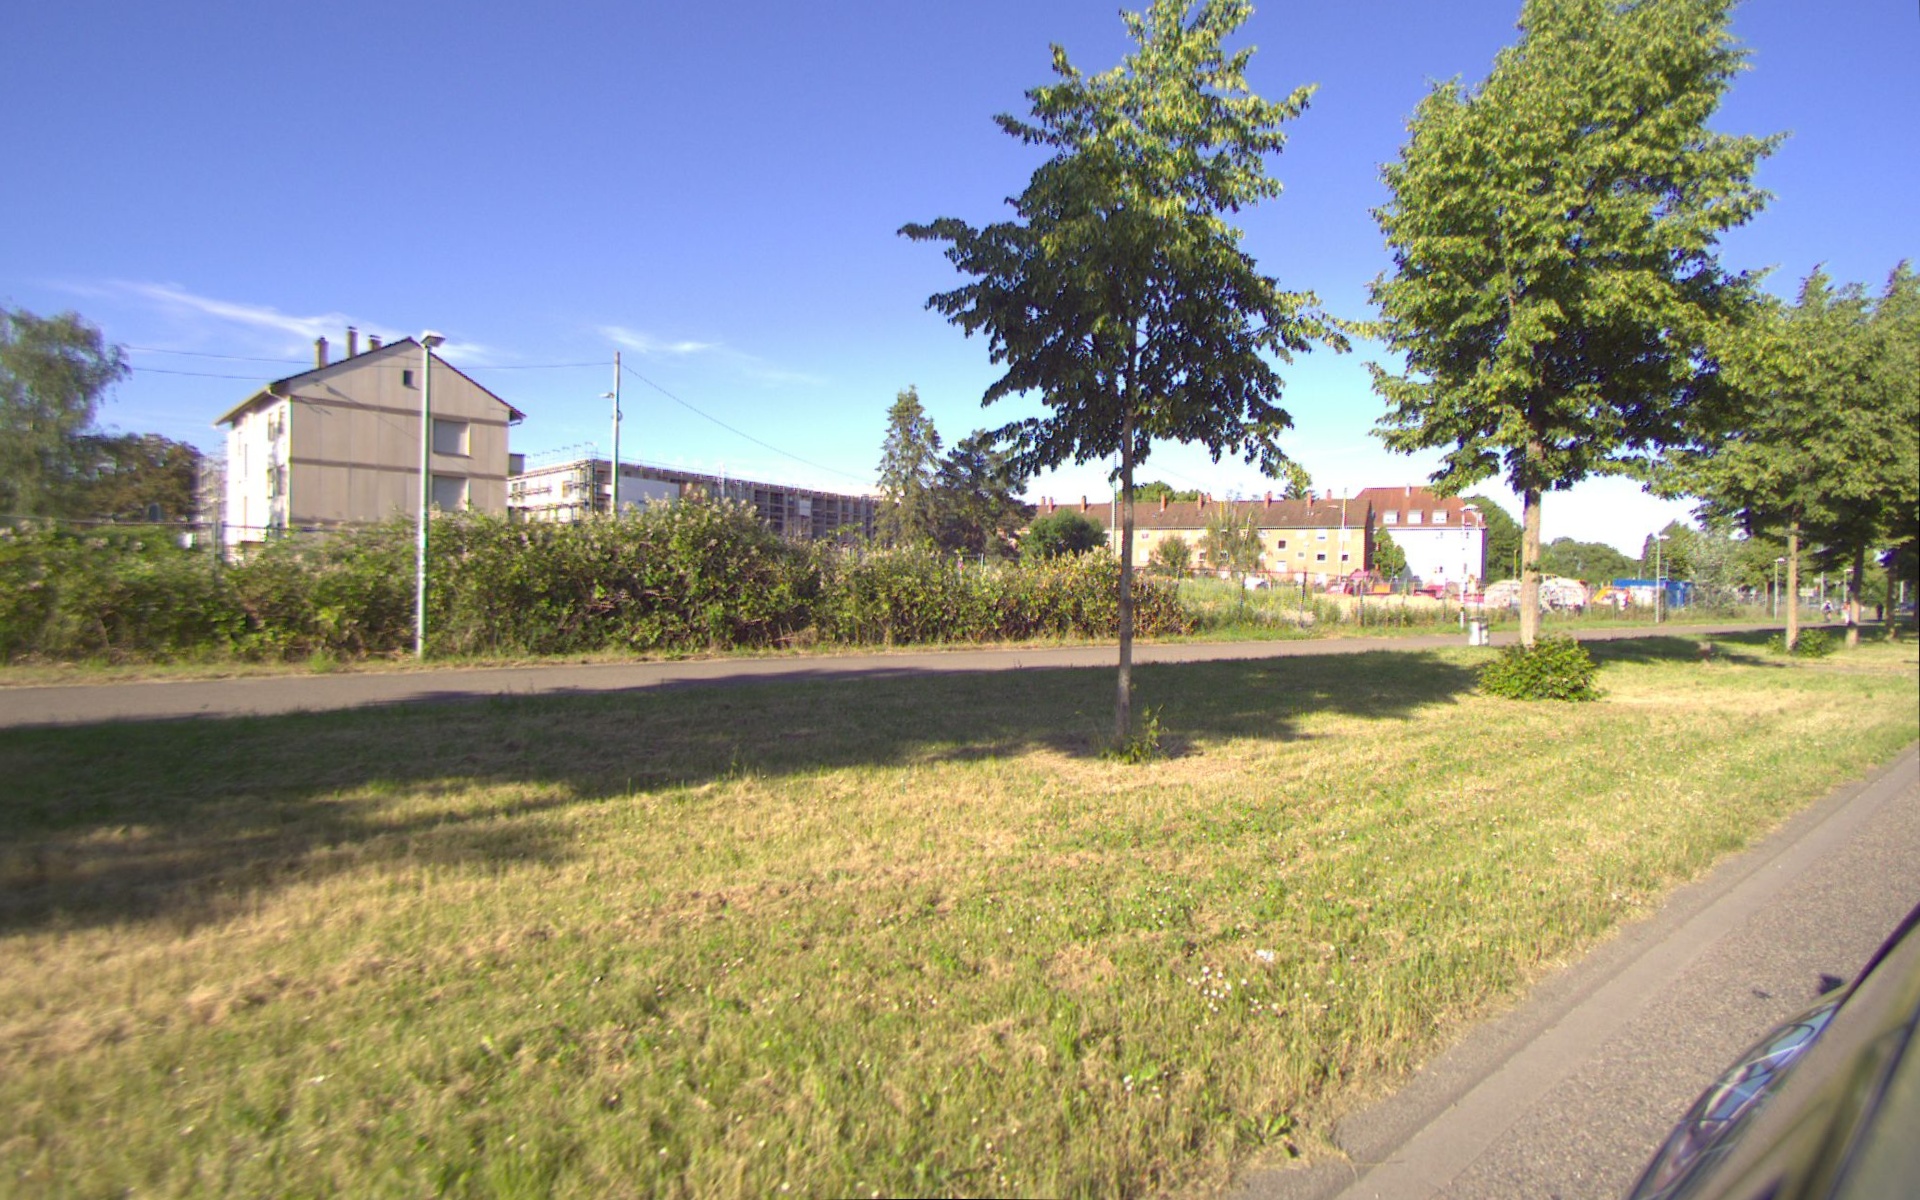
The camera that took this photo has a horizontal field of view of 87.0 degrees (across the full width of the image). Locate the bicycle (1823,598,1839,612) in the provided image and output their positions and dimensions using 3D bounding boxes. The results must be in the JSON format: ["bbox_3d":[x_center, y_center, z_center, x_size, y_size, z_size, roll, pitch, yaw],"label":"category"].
[{"bbox_3d":[67.136,0.395,77.979,1.788,1.025,0.656,1,0,-41],"label":"bicycle"}]

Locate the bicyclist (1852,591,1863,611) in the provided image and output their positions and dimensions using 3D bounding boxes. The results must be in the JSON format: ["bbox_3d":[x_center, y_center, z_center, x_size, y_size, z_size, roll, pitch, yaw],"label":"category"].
[{"bbox_3d":[68.200,0.066,76.868,0.819,1.491,0.504,0,1,-42],"label":"bicyclist"}]

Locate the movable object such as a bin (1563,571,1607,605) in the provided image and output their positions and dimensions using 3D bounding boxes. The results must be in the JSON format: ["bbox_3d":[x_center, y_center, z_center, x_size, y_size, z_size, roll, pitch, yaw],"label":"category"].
[{"bbox_3d":[38.025,-0.741,61.621,1.757,2.038,1.799,-1,2,-39],"label":"movable object such as a bin"}]

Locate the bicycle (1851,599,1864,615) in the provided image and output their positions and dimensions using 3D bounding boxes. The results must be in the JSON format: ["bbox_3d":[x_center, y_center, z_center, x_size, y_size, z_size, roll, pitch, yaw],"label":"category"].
[{"bbox_3d":[68.187,0.534,76.853,1.577,1.166,0.506,1,3,-42],"label":"bicycle"}]

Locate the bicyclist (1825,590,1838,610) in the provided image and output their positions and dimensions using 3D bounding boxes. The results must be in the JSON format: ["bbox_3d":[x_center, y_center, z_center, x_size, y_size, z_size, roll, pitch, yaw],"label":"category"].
[{"bbox_3d":[67.135,-0.007,77.953,0.781,1.572,0.654,0,1,-40],"label":"bicyclist"}]
